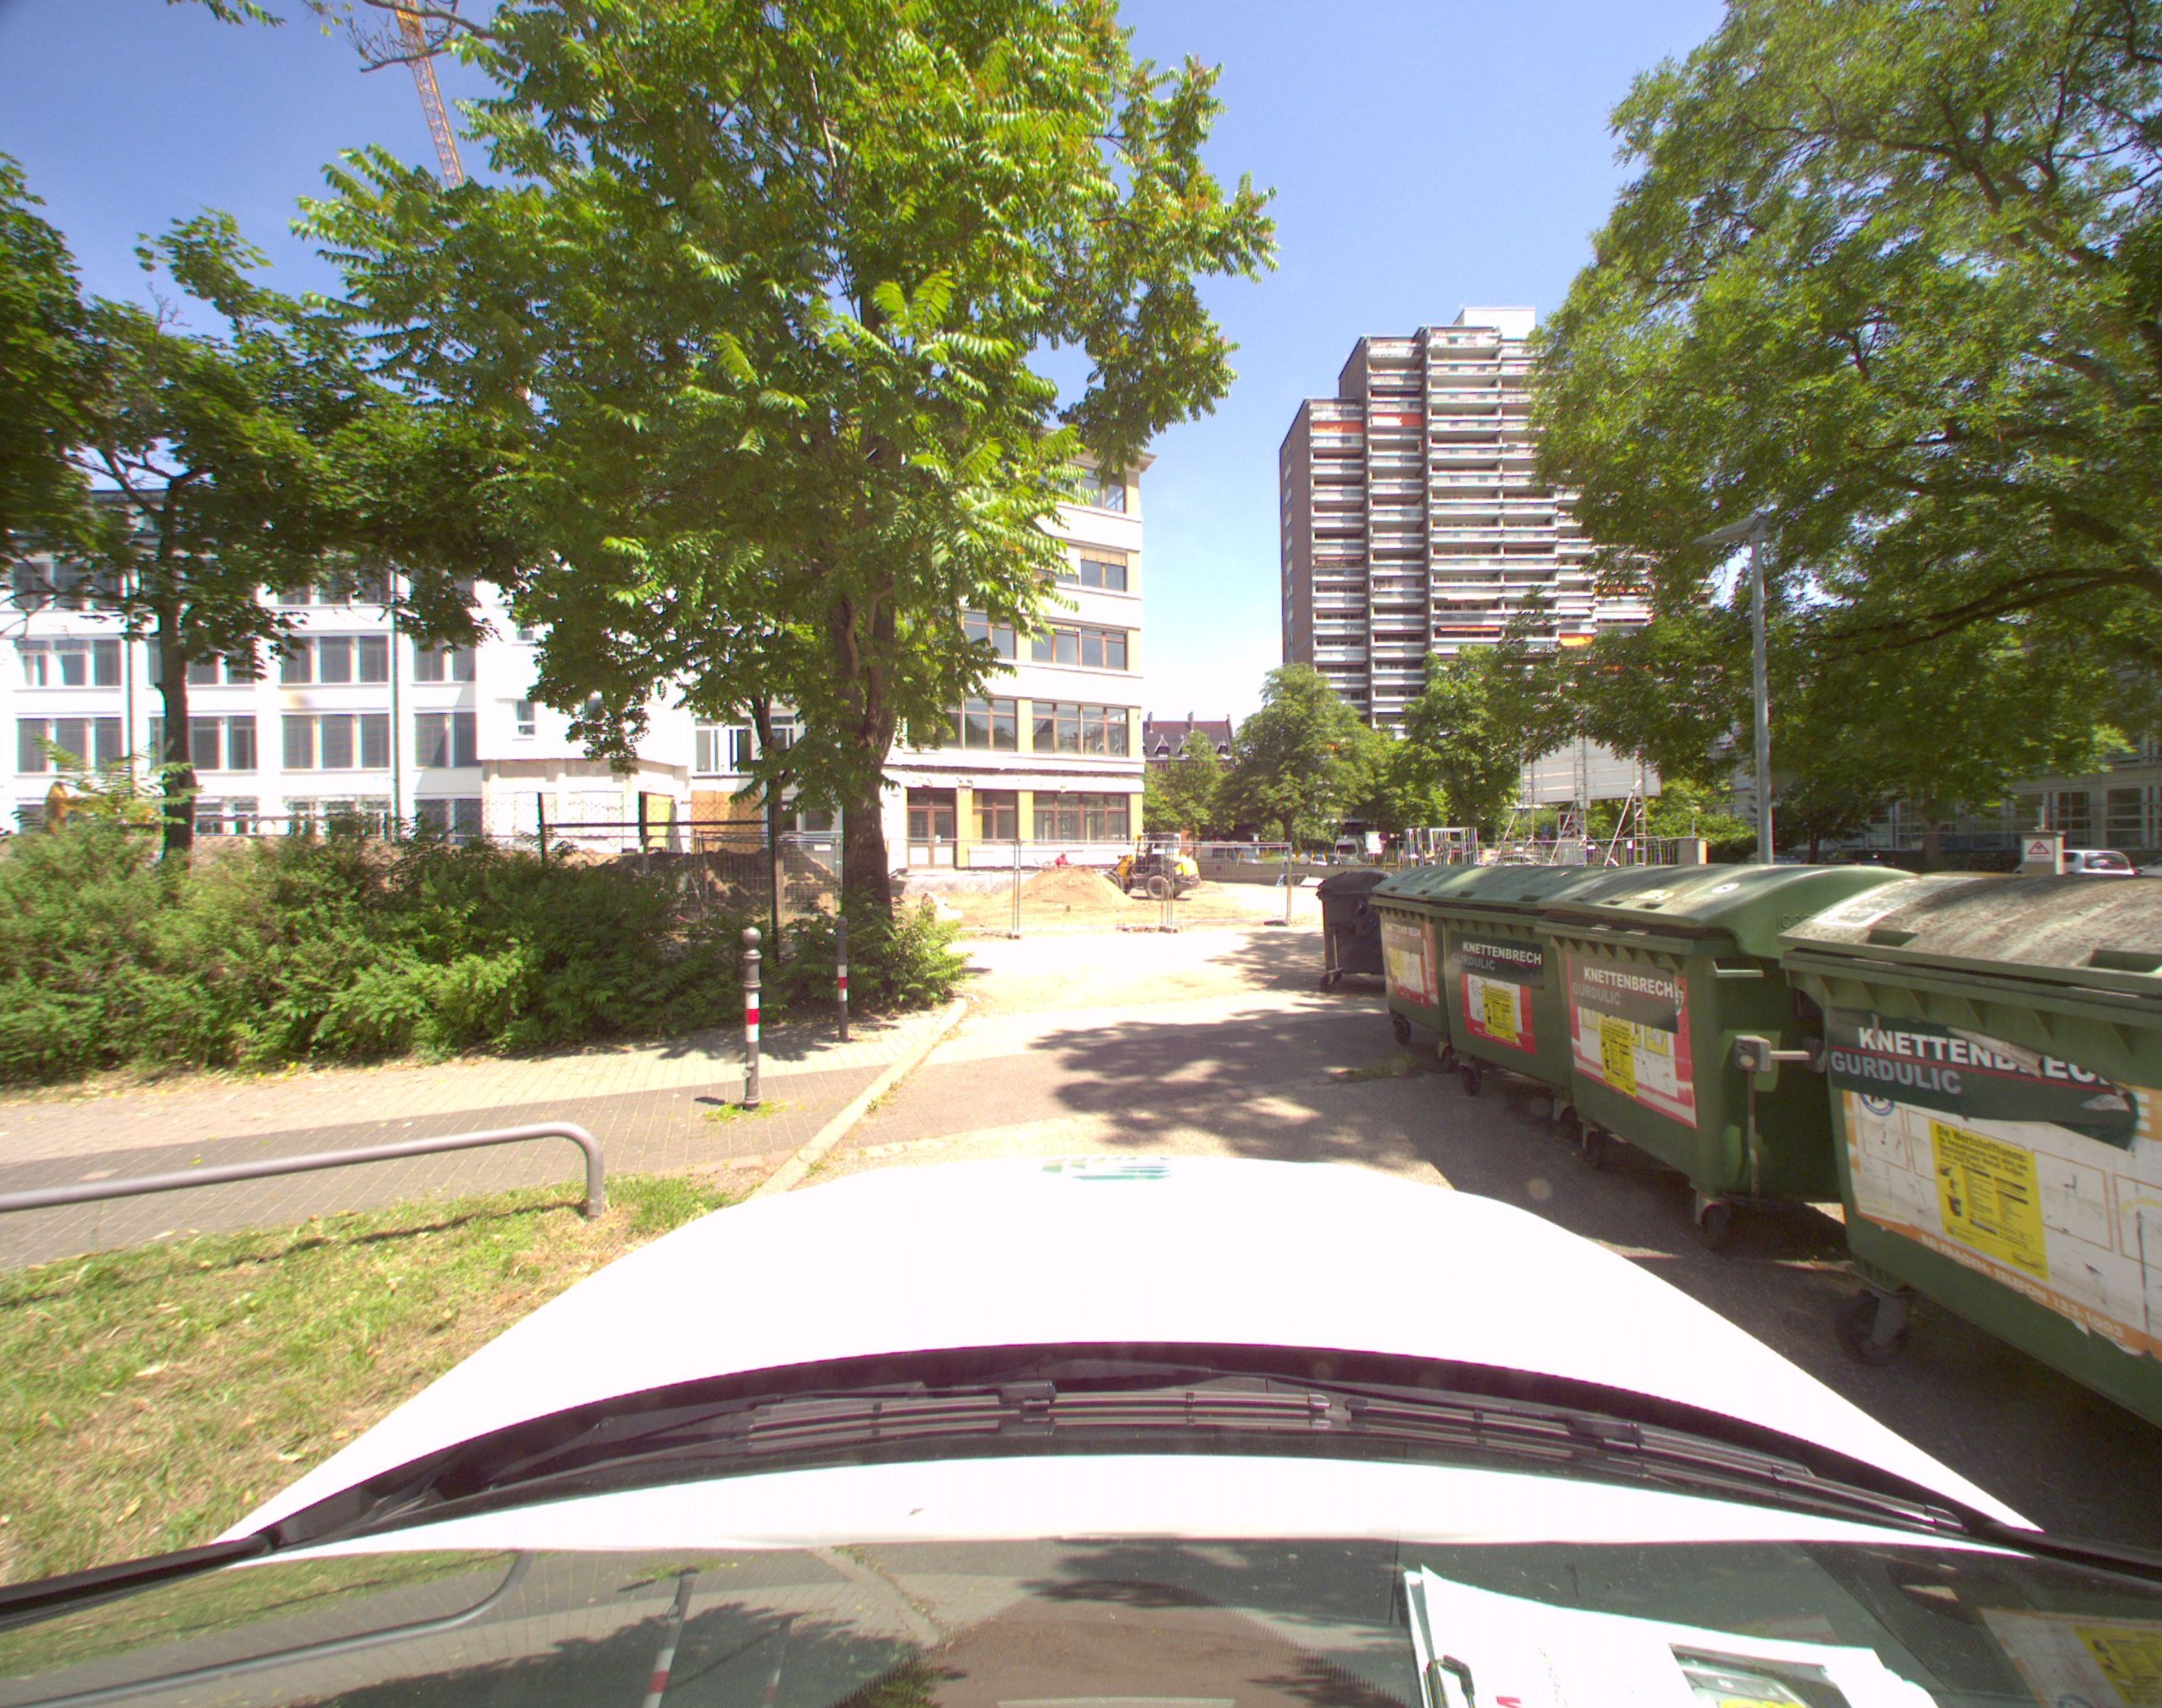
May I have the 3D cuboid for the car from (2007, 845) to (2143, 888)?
[{"bbox_3d":[39.391,0.479,32.400,1.651,1.589,3.709,-1,0,17],"label":"car"}]

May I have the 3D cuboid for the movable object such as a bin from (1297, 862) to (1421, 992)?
[{"bbox_3d":[3.326,0.833,9.907,1.071,1.458,1.378,-1,-1,3],"label":"movable object such as a bin"}]

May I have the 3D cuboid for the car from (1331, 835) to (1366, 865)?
[{"bbox_3d":[21.944,-0.311,66.647,2.165,2.258,4.896,-1,0,24],"label":"car"}]

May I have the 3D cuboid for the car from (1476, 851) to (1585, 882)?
[{"bbox_3d":[22.454,0.609,40.891,1.677,1.437,4.646,-1,0,-26],"label":"car"}]

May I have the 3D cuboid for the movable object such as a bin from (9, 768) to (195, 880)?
[{"bbox_3d":[-40.149,-1.172,33.459,5.676,4.372,2.003,-1,-1,5],"label":"movable object such as a bin"}]

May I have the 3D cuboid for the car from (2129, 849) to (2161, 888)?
[{"bbox_3d":[40.545,0.529,29.378,1.650,1.415,3.730,-1,0,21],"label":"car"}]

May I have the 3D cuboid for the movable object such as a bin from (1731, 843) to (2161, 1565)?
[{"bbox_3d":[2.734,0.703,2.073,1.071,1.458,1.378,-1,-1,3],"label":"movable object such as a bin"}]

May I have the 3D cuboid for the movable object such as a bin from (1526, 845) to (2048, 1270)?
[{"bbox_3d":[2.816,0.711,3.516,1.071,1.458,1.378,-1,-1,3],"label":"movable object such as a bin"}]

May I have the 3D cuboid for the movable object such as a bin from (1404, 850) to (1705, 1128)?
[{"bbox_3d":[2.770,0.721,4.991,1.071,1.458,1.378,-1,-1,3],"label":"movable object such as a bin"}]

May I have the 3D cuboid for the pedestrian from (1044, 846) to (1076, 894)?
[{"bbox_3d":[-0.843,0.614,32.092,0.918,1.847,0.978,-1,-1,-25],"label":"pedestrian"}]

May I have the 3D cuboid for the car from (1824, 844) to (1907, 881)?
[{"bbox_3d":[36.525,0.371,38.015,1.992,1.629,3.955,-1,-1,32],"label":"car"}]

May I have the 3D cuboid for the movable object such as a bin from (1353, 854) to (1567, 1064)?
[{"bbox_3d":[2.888,0.743,6.410,1.071,1.458,1.378,-1,-1,3],"label":"movable object such as a bin"}]

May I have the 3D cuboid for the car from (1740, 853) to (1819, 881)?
[{"bbox_3d":[34.790,0.639,40.665,1.897,1.310,3.952,-1,0,24],"label":"car"}]

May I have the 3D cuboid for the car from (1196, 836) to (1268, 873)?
[{"bbox_3d":[10.128,0.063,55.011,2.004,2.416,5.197,-1,-1,-27],"label":"car"}]

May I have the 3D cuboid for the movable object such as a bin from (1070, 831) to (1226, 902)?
[{"bbox_3d":[2.531,0.400,30.887,5.353,2.464,2.382,1,0,27],"label":"movable object such as a bin"}]
